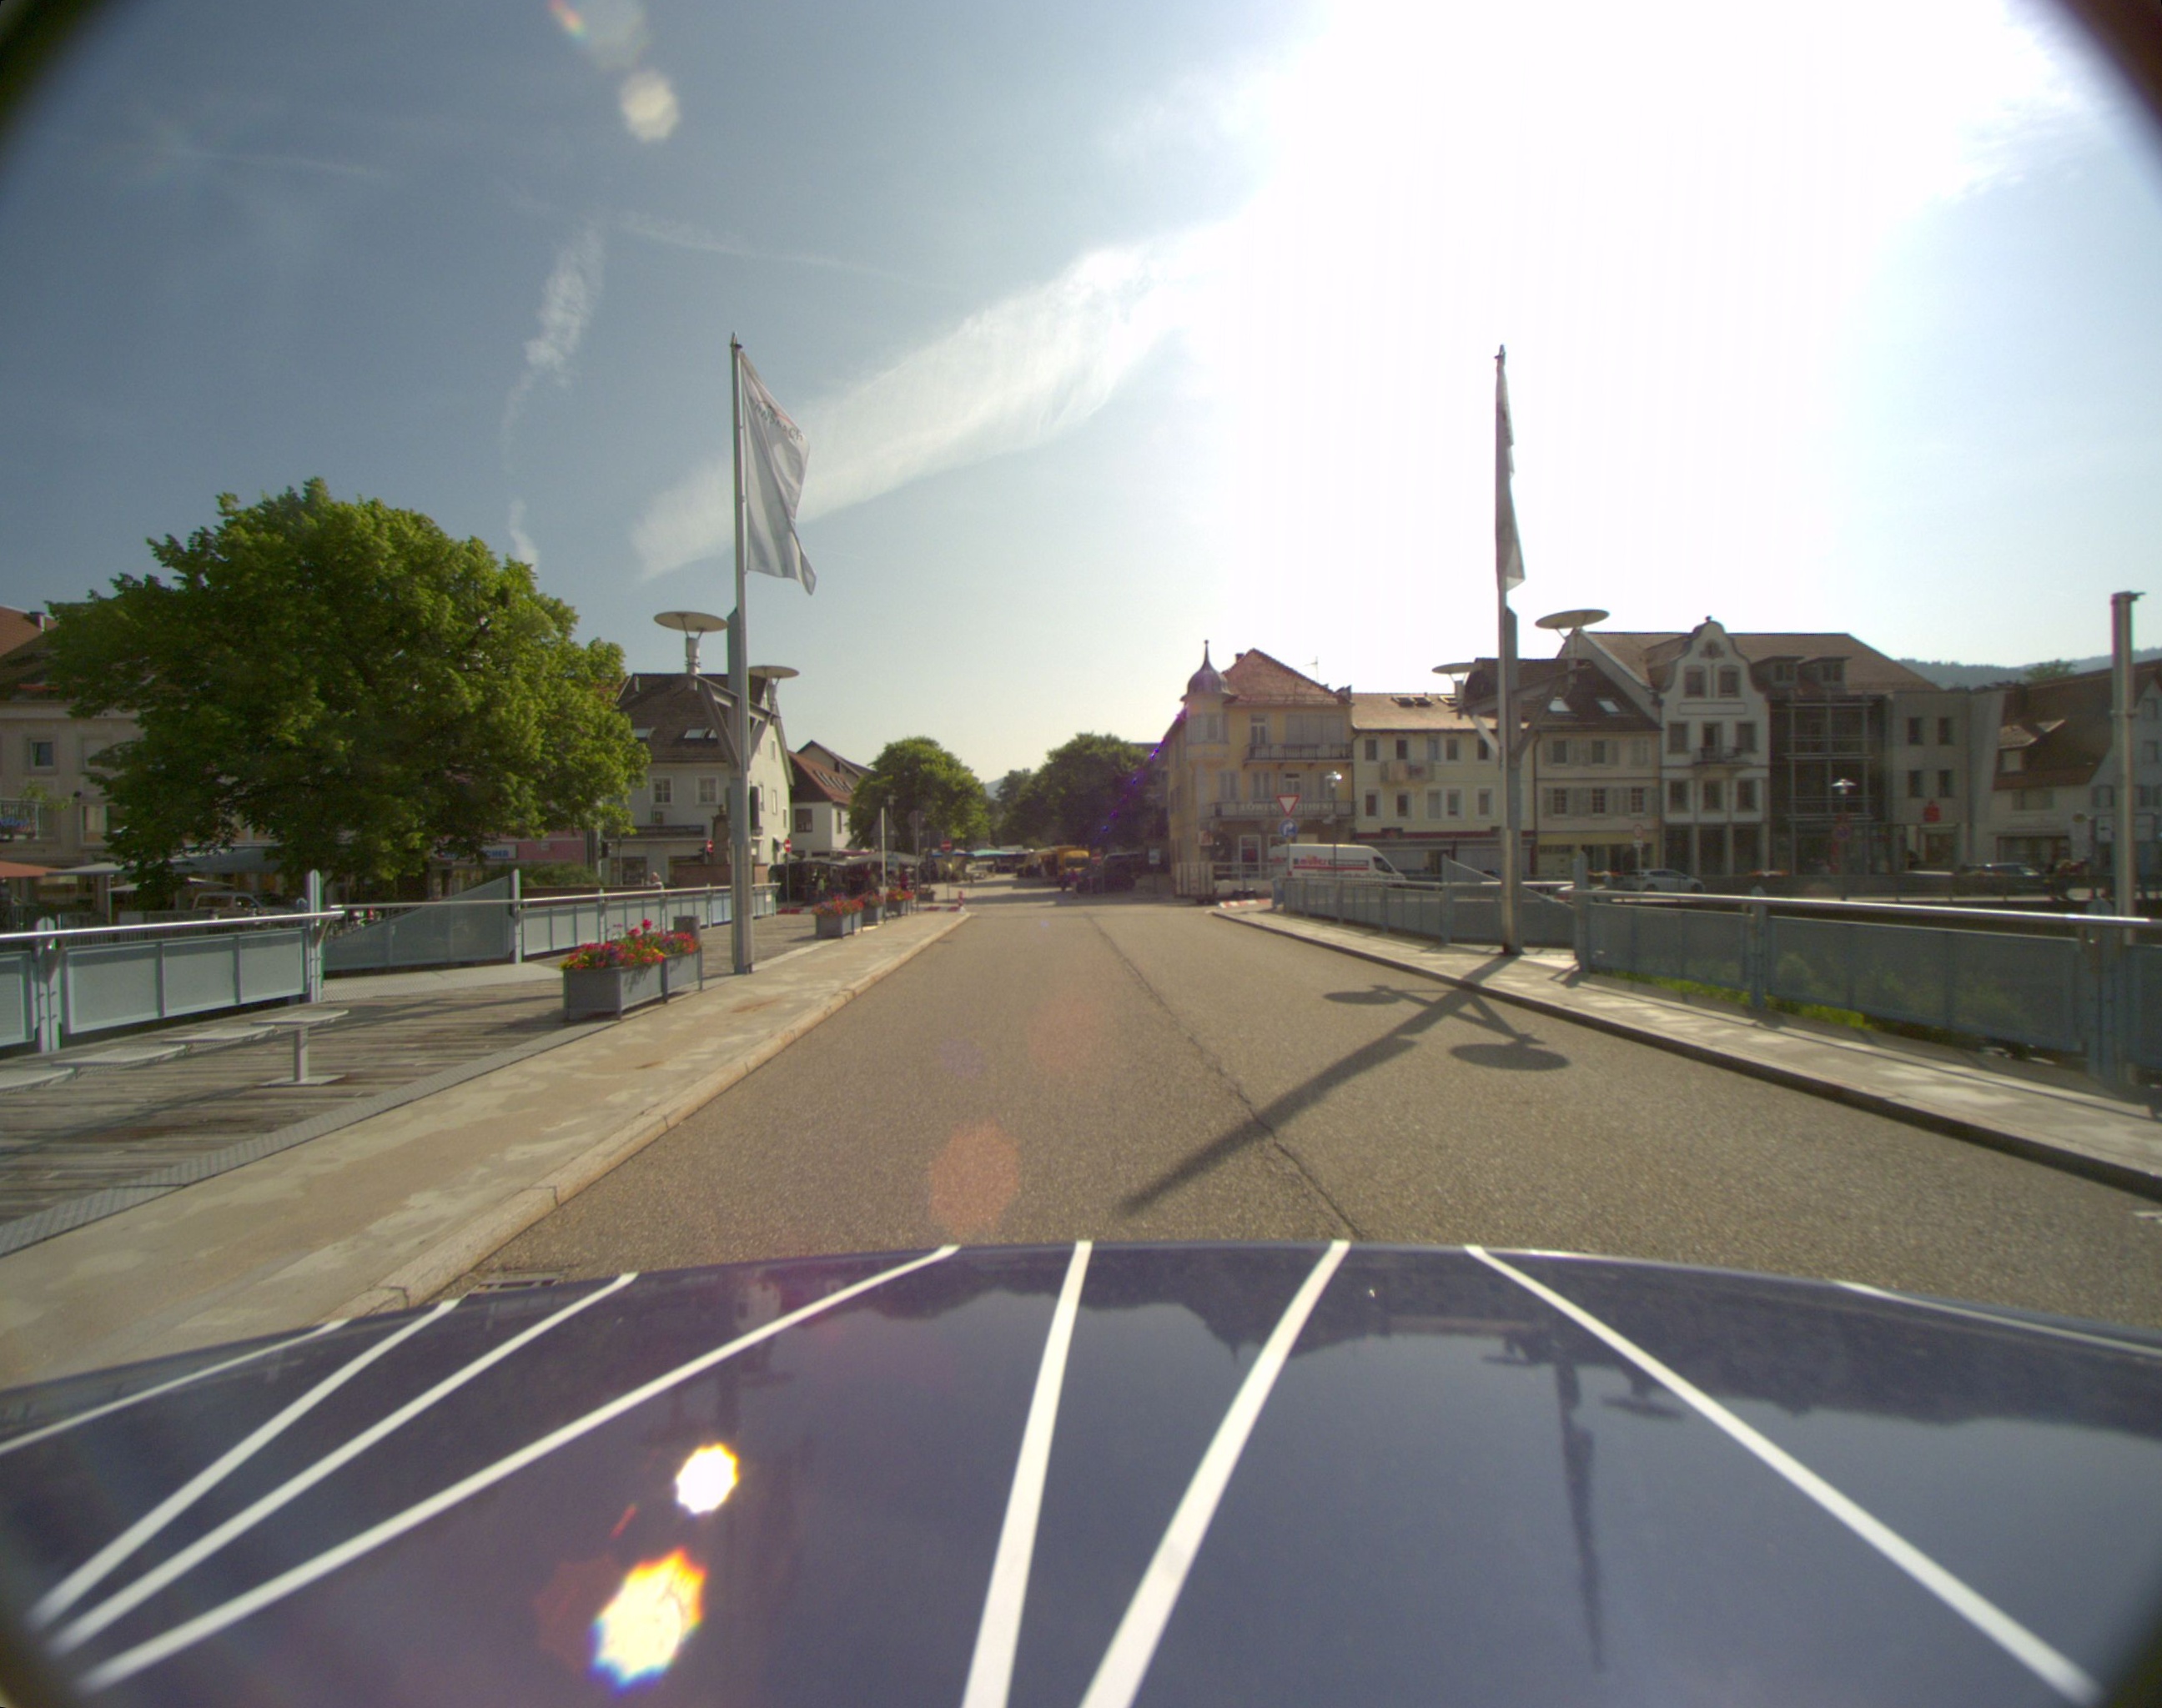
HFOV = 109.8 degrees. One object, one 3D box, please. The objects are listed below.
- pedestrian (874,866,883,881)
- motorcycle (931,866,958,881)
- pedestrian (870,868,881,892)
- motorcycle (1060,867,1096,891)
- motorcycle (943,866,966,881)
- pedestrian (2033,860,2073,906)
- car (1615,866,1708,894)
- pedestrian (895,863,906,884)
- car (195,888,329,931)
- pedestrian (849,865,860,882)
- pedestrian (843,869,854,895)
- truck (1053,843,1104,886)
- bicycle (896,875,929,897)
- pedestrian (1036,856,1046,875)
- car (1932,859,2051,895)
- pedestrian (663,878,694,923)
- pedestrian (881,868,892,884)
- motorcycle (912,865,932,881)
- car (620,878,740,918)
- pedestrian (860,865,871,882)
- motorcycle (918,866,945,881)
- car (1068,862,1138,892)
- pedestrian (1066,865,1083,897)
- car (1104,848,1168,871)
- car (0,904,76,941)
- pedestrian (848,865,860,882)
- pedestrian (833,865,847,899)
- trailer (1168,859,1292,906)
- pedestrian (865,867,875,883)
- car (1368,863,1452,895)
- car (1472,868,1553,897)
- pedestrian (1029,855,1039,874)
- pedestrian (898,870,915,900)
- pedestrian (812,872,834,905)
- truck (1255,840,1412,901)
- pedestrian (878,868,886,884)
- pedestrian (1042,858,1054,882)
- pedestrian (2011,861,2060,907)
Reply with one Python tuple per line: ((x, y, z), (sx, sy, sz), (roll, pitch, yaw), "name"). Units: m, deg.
((-16.142, 1.542, 60.517), (0.572, 1.194, 0.650), (1, 1, -3), "pedestrian")
((-11.209, 1.574, 62.439), (2.002, 1.189, 0.644), (1, 0, 9), "motorcycle")
((-13.287, 1.650, 49.061), (0.622, 1.509, 0.632), (-1, 0, -18), "pedestrian")
((-0.204, 1.549, 47.916), (2.087, 1.353, 0.888), (-3, 1, -6), "motorcycle")
((-10.582, 1.597, 63.479), (1.999, 1.188, 0.645), (2, 0, 38), "motorcycle")
((36.845, 1.095, 28.800), (0.491, 1.696, 0.791), (-1, 1, -2), "pedestrian")
((31.188, 1.375, 40.856), (3.794, 1.439, 1.752), (-1, 0, -6), "car")
((-13.690, 1.457, 57.678), (0.699, 1.544, 0.572), (1, 1, 2), "pedestrian")
((-38.937, 2.616, 36.205), (4.145, 1.729, 1.710), (-2, 2, -7), "car")
((-17.424, 1.492, 58.469), (0.626, 1.323, 0.699), (1, 1, -1), "pedestrian")
((-14.432, 1.737, 47.204), (0.522, 1.617, 0.707), (-1, 0, -8), "pedestrian")
((-0.333, 0.650, 55.956), (3.009, 2.742, 8.856), (-2, 1, -4), "truck")
((-9.927, 1.858, 44.764), (1.864, 1.228, 0.616), (-1, 0, -17), "bicycle")
((-3.525, 0.998, 67.629), (0.682, 1.672, 0.582), (-3, 2, -21), "pedestrian")
((43.750, 1.067, 36.544), (3.969, 1.551, 1.683), (-2, 0, -5), "car")
((-16.737, 1.903, 31.576), (0.909, 1.804, 1.018), (-1, 0, -41), "pedestrian")
((-14.568, 1.652, 56.893), (0.700, 1.194, 0.571), (1, 1, -18), "pedestrian")
((-13.140, 1.565, 62.660), (1.532, 1.189, 0.643), (1, 0, -4), "motorcycle")
((-18.453, 2.001, 35.159), (4.498, 1.557, 1.823), (-2, 2, -7), "car")
((-16.813, 1.497, 59.197), (0.626, 1.323, 0.699), (1, 1, -1), "pedestrian")
((-12.147, 1.573, 61.670), (2.002, 1.189, 0.644), (1, 1, 9), "motorcycle")
((1.353, 1.333, 45.502), (3.966, 1.534, 1.918), (-3, 2, -43), "car")
((-0.357, 1.481, 41.426), (0.678, 1.705, 0.618), (-1, 1, 26), "pedestrian")
((4.651, 0.455, 64.754), (5.073, 1.880, 1.999), (-1, 0, -8), "car")
((-46.856, 3.005, 32.910), (3.999, 1.439, 1.735), (-1, 0, -6), "car")
((-17.255, 1.477, 57.743), (0.626, 1.323, 0.699), (1, 1, -1), "pedestrian")
((-14.017, 1.628, 44.197), (0.708, 1.973, 0.651), (-1, 0, -25), "pedestrian")
((6.569, 1.169, 32.949), (2.612, 1.816, 5.650), (-1, -1, 44), "trailer")
((-16.092, 1.571, 57.977), (0.572, 1.194, 0.650), (1, 1, -3), "pedestrian")
((17.178, 1.297, 39.766), (3.567, 1.559, 1.852), (-1, 0, -6), "car")
((22.830, 1.469, 40.256), (3.275, 1.439, 1.752), (-1, 0, -6), "car")
((-4.243, 0.983, 68.214), (0.682, 1.672, 0.582), (-3, 0, -19), "pedestrian")
((-9.979, 1.775, 43.500), (0.884, 1.649, 0.571), (1, 1, -11), "pedestrian")
((-13.408, 1.782, 39.513), (0.859, 1.623, 0.787), (-2, 3, -7), "pedestrian")
((11.896, 0.772, 35.711), (7.140, 2.682, 2.109), (0, -2, -19), "truck")
((-15.062, 1.656, 57.612), (0.572, 1.194, 0.650), (1, 1, -14), "pedestrian")
((-2.457, 1.190, 56.753), (0.681, 1.776, 0.726), (-3, 2, -9), "pedestrian")
((36.182, 1.132, 28.807), (0.777, 1.696, 0.869), (-1, 1, -2), "pedestrian")
